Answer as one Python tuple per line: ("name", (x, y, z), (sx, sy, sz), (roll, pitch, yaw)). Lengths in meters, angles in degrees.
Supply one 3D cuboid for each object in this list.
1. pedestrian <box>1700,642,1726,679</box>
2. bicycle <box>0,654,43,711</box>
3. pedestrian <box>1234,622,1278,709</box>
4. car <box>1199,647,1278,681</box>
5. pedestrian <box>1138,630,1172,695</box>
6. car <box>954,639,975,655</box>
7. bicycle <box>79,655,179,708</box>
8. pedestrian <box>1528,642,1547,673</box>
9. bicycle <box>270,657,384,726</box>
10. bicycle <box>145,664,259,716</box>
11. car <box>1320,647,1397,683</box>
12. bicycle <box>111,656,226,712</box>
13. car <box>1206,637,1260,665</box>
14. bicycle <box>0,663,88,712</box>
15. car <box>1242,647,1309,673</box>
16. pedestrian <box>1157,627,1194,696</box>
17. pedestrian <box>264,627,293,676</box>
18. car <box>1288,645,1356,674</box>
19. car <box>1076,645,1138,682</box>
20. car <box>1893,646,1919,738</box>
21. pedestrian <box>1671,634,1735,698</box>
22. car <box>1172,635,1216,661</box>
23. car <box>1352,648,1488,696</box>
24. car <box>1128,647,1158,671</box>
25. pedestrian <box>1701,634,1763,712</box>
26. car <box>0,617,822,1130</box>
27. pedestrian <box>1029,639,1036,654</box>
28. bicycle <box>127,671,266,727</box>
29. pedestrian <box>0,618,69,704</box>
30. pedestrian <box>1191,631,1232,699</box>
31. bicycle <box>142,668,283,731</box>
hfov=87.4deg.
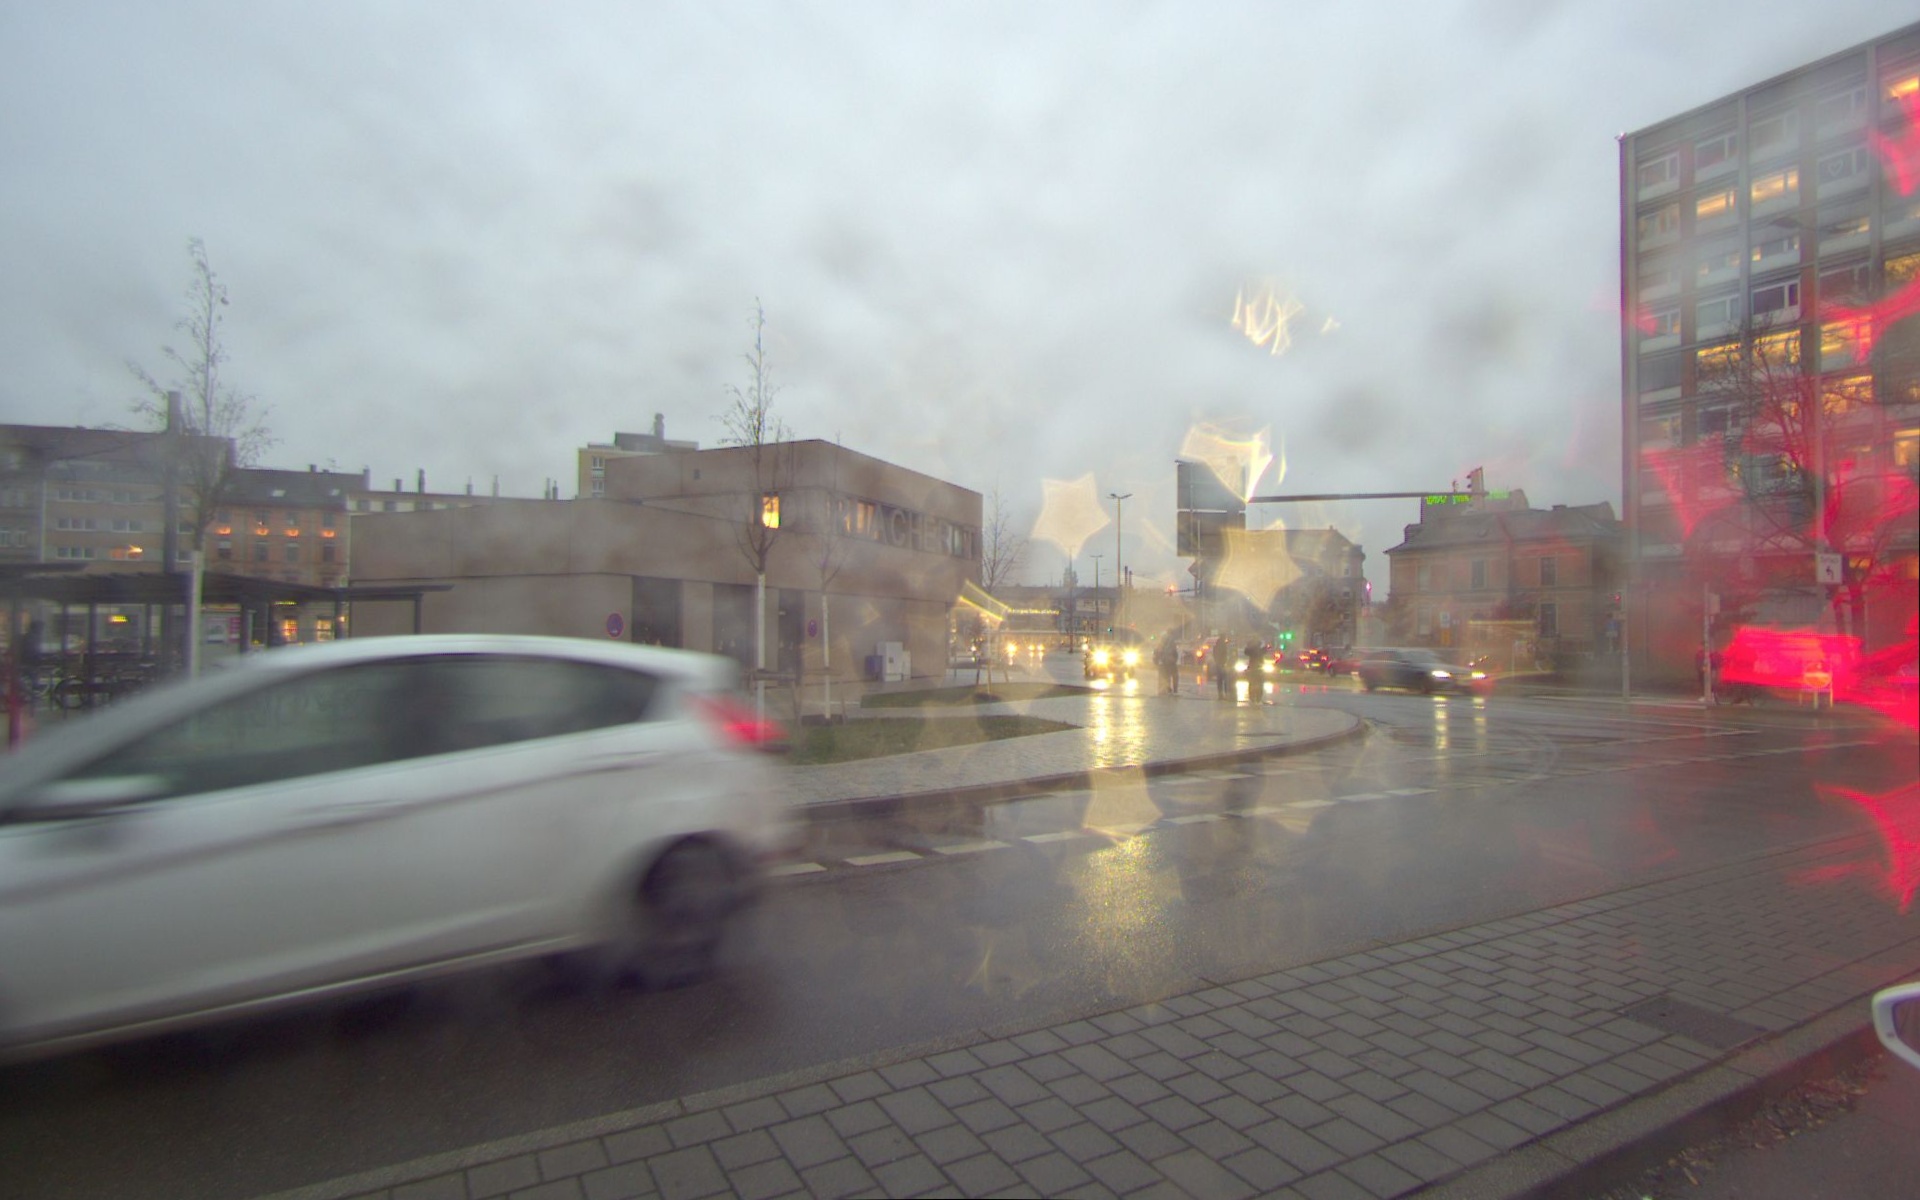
("pedestrian", (34.630, 2.770, 46.182), (0.548, 1.649, 0.760), (0, -2, -15))
("bicycle", (-19.399, 1.633, 19.841), (0.466, 1.122, 1.797), (1, -2, 29))
("pedestrian", (7.194, 1.581, 24.386), (0.971, 2.047, 0.802), (-1, -2, 19))
("car", (12.978, 2.977, 47.074), (1.778, 1.496, 4.665), (1, -3, -9))
("pedestrian", (5.459, 1.742, 28.178), (0.544, 1.793, 0.734), (2, -3, -43))
("car", (0.416, 4.878, 104.035), (1.649, 1.598, 3.420), (0, -2, -9))
("bicycle", (-17.692, 1.711, 21.435), (0.511, 1.050, 1.573), (1, -2, 19))
("pedestrian", (32.620, 3.259, 56.772), (0.626, 1.710, 0.640), (0, -2, -13))
("bicycle", (-11.755, 1.677, 18.722), (0.605, 1.172, 1.755), (1, -2, 20))
("bicycle", (-15.185, 1.779, 20.176), (0.466, 0.968, 1.767), (1, -2, 29))
("car", (20.490, 3.313, 51.821), (1.795, 1.589, 3.991), (2, 0, -11))
("bicycle", (-16.535, 1.737, 21.041), (0.466, 1.087, 1.830), (1, -2, 26))
("car", (19.613, 3.657, 72.357), (3.514, 1.850, 1.672), (2, 0, 8))
("bicycle", (-18.514, 1.734, 19.992), (0.466, 0.903, 1.693), (1, -2, 24))
("car", (20.082, 3.809, 63.982), (3.741, 1.502, 1.602), (2, 0, -1))
("pedestrian", (5.920, 1.684, 27.658), (0.671, 1.863, 0.726), (1, -3, -42))
("pedestrian", (-23.919, 1.803, 35.265), (0.517, 1.688, 0.701), (-1, -2, 7))
("car", (20.895, 3.411, 58.081), (3.364, 1.481, 1.515), (2, 0, -1))
("car", (6.777, 2.923, 46.651), (1.742, 1.598, 3.995), (0, -2, -8))
("car", (17.225, 1.462, 14.973), (1.782, 1.496, 4.576), (2, -3, -17))
("pedestrian", (22.856, 2.020, 30.929), (1.118, 1.867, 1.003), (-2, -2, -8))
("car", (15.838, 3.244, 68.274), (1.792, 1.589, 3.998), (2, 0, -4))
("car", (15.335, 2.375, 33.822), (1.779, 1.496, 4.662), (1, -3, -12))
("car", (11.802, 3.782, 64.724), (1.774, 1.496, 4.676), (0, -3, 11))
("pedestrian", (20.615, 1.930, 26.831), (0.946, 2.004, 0.925), (0, -2, -24))
("car", (-2.598, 0.857, 4.081), (3.677, 1.467, 1.729), (2, -4, -35))
("pedestrian", (9.981, 6.451, 138.306), (0.960, 2.040, 0.920), (-1, -2, 11))
("bicycle", (-13.592, 1.739, 17.954), (0.466, 0.903, 1.923), (1, -2, 29))
("pedestrian", (-20.141, 1.309, 21.635), (0.992, 1.787, 1.067), (-1, -2, 23))
("pedestrian", (6.680, 1.711, 26.679), (0.838, 1.778, 0.659), (0, -2, -14))
("bicycle", (-12.941, 1.704, 17.461), (0.466, 0.989, 1.923), (1, -2, 29))
